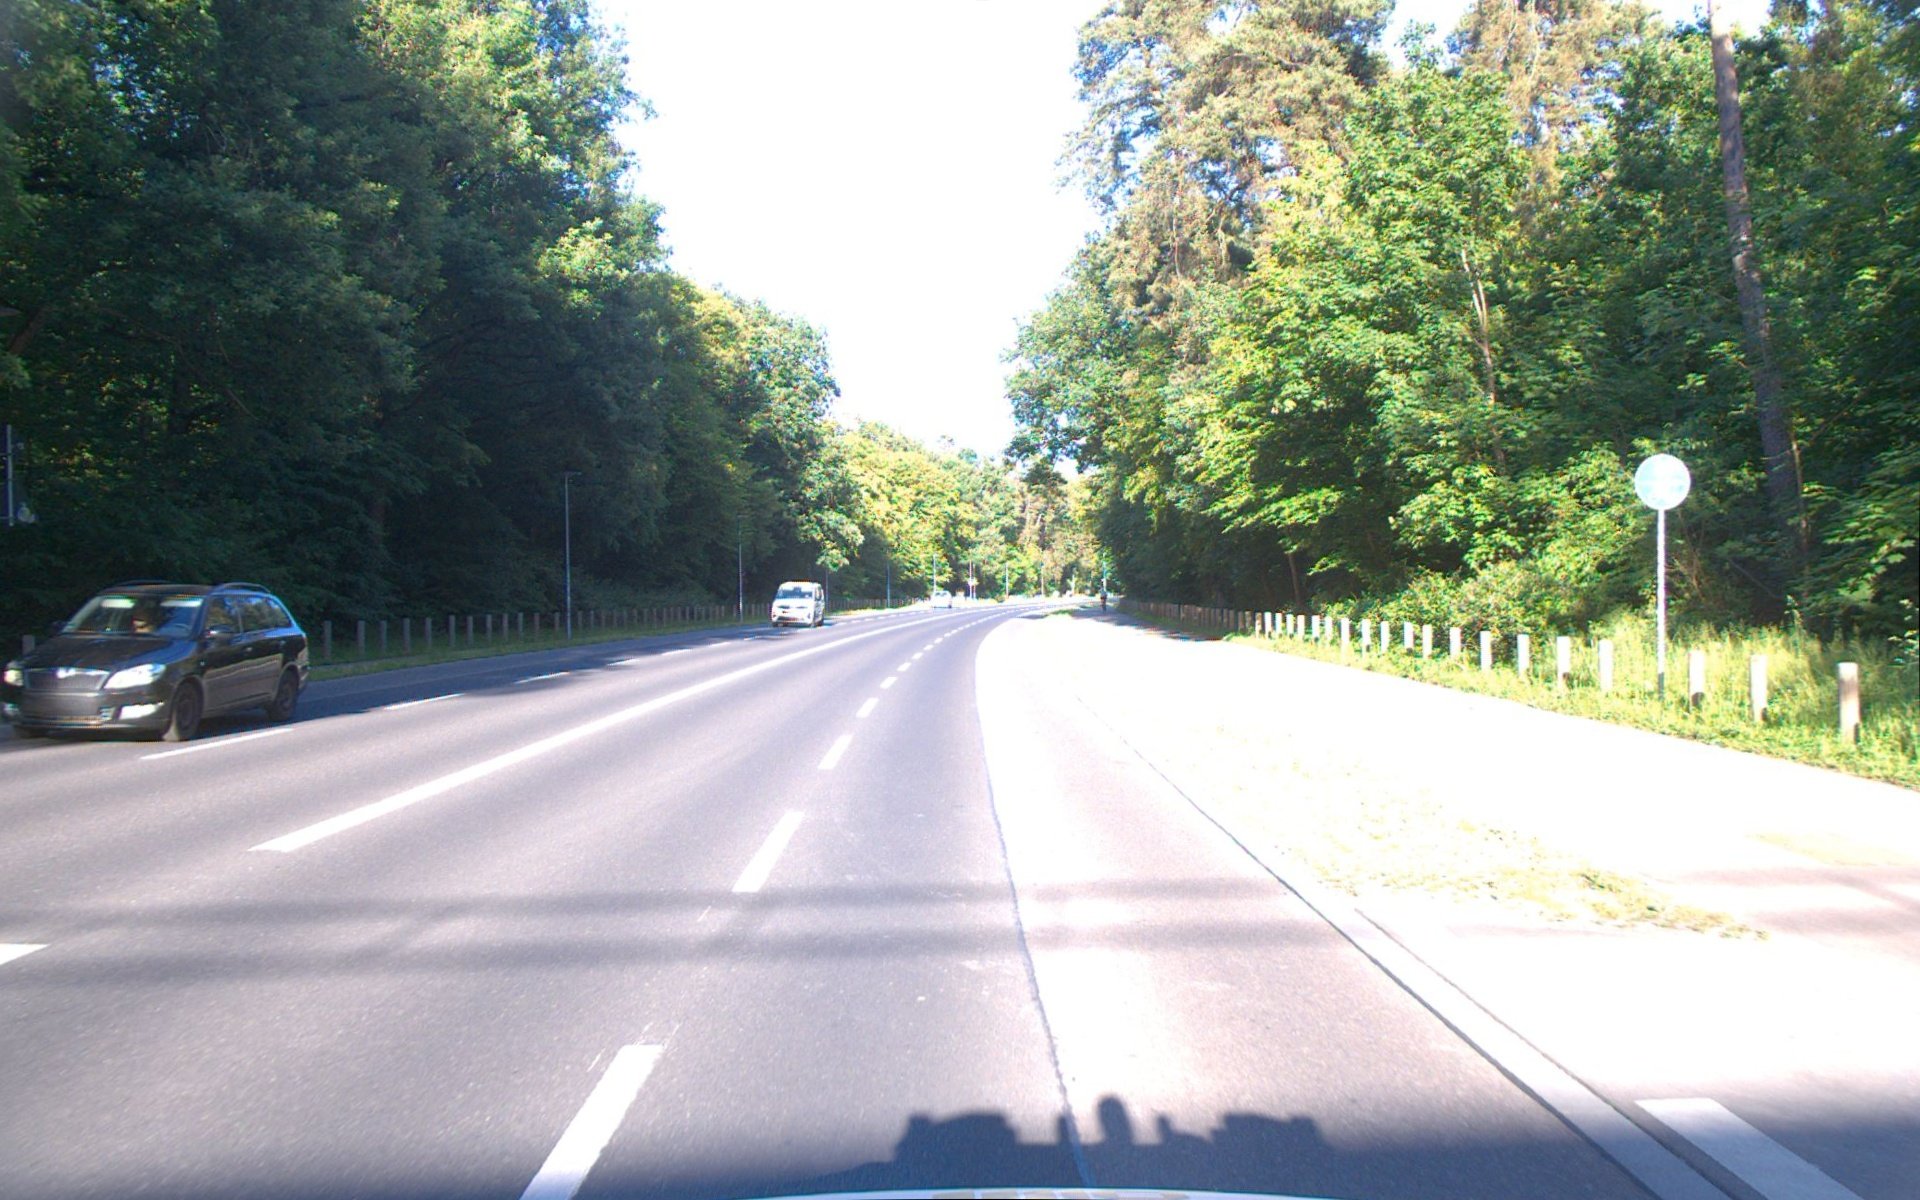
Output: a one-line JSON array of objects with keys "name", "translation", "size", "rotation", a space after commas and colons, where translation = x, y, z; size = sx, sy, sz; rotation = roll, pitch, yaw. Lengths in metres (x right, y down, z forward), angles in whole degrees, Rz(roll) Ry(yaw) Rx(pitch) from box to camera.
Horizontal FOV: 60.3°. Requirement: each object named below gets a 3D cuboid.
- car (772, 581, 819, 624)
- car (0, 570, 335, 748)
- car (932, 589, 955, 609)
[{"name": "car", "translation": [-6.876, 0.081, 69.461], "size": [1.670, 1.739, 3.999], "rotation": [0, 0, -1]}, {"name": "car", "translation": [-8.177, 0.530, 17.297], "size": [1.687, 1.601, 4.177], "rotation": [1, 0, 0]}, {"name": "car", "translation": [-1.475, -0.088, 146.727], "size": [1.747, 1.739, 4.002], "rotation": [0, 0, 3]}]
